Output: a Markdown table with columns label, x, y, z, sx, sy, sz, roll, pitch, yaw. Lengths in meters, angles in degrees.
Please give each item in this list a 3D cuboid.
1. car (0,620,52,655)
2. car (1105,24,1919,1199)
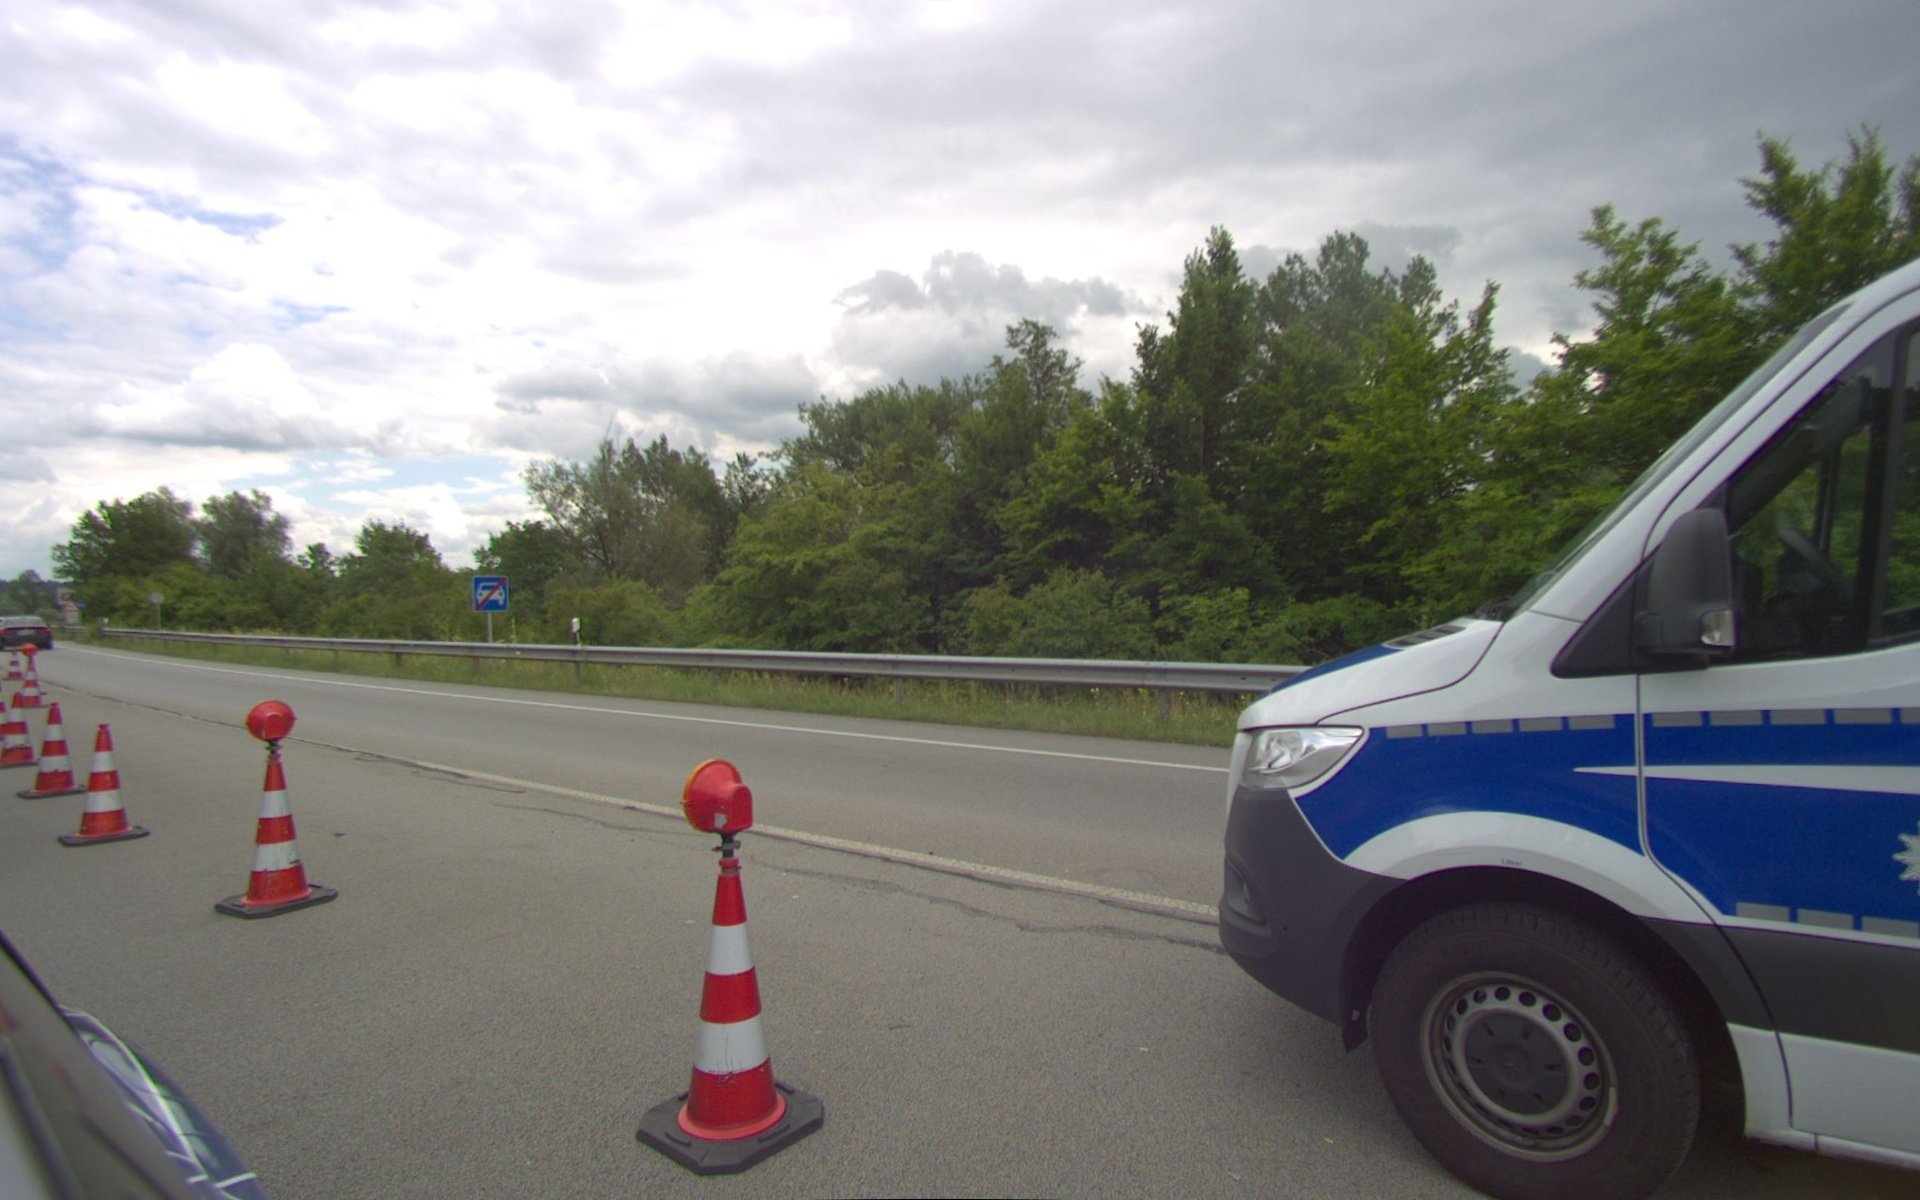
| label | x | y | z | sx | sy | sz | roll | pitch | yaw |
| --- | --- | --- | --- | --- | --- | --- | --- | --- | --- |
| car | -40.427 | 1.584 | 43.554 | 4.338 | 1.447 | 1.690 | -1 | -1 | 44 |
| car | 3.123 | 0.141 | 2.148 | 5.272 | 2.482 | 2.010 | -1 | -1 | 38 |
